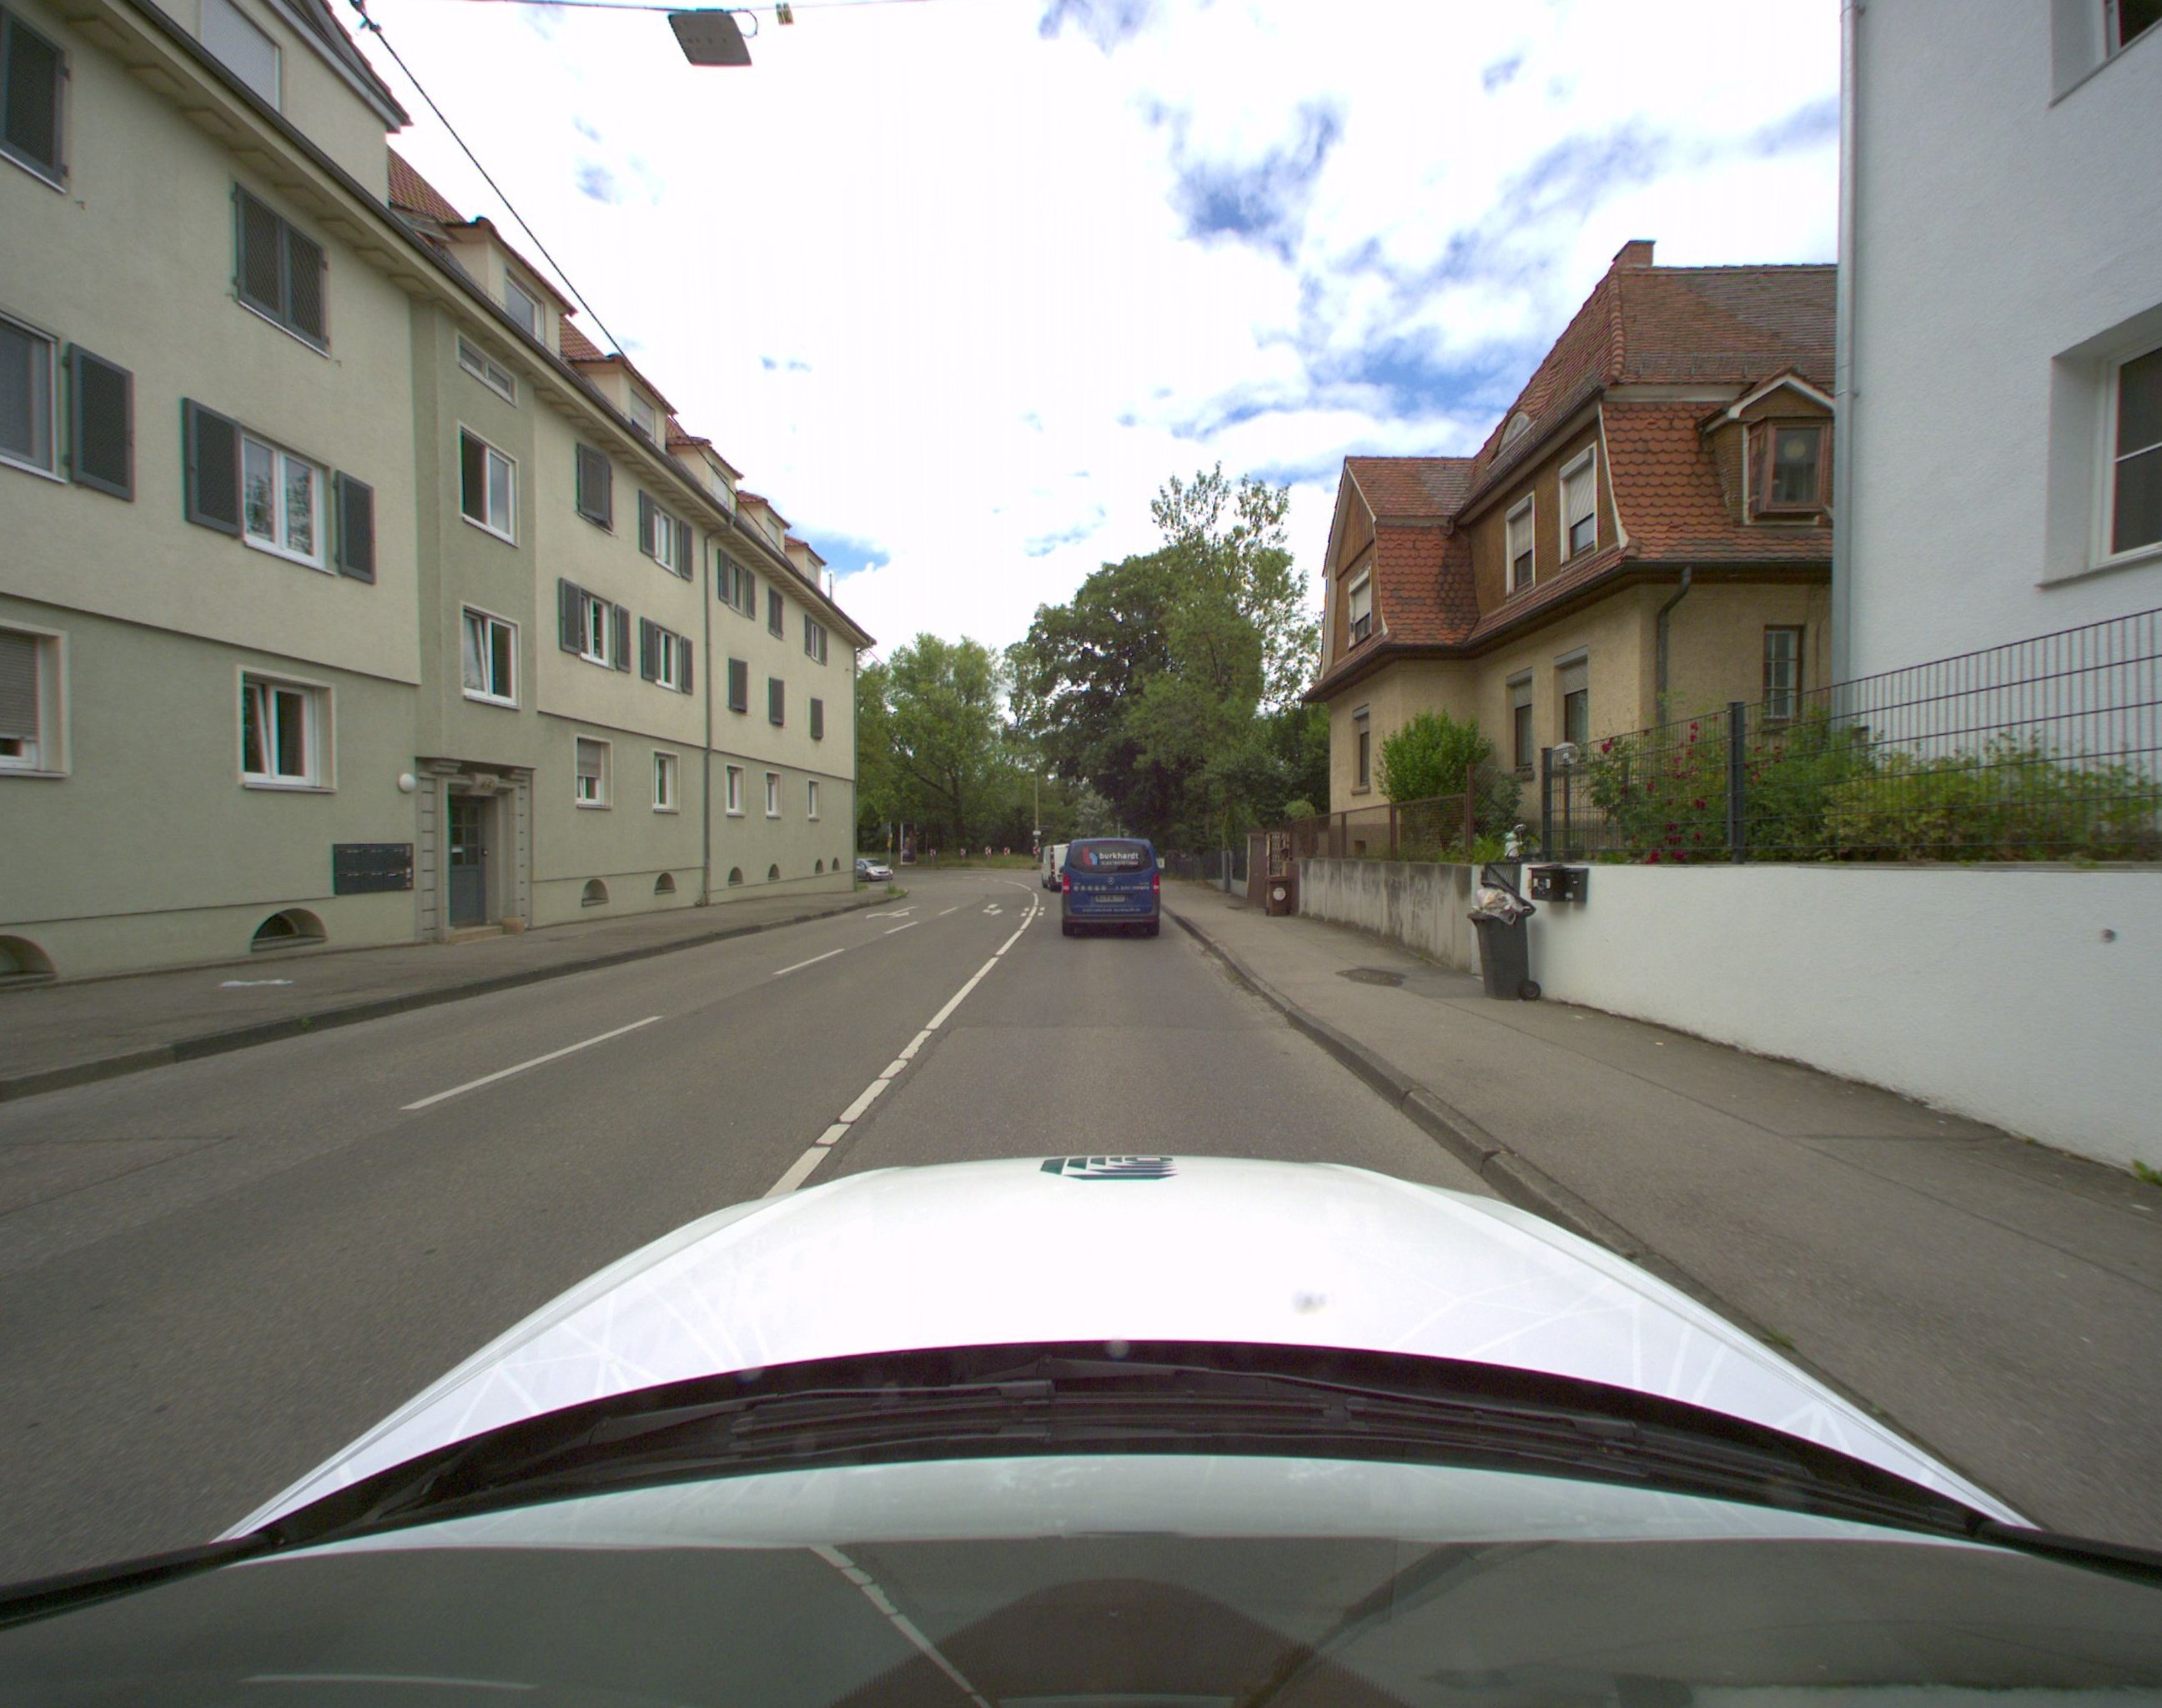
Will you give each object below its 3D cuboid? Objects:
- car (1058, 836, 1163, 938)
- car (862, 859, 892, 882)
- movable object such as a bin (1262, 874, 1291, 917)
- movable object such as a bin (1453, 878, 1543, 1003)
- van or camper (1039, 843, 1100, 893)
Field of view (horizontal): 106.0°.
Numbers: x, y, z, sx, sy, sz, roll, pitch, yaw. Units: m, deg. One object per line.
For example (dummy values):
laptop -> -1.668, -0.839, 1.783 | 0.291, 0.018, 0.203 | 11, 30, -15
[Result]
car -> 0.488, 0.595, 16.890 | 1.908, 1.837, 4.291 | 0, 0, -2
car -> -14.534, 1.160, 57.906 | 1.727, 1.605, 3.951 | 0, 0, -19
movable object such as a bin -> 4.475, 0.946, 18.667 | 0.460, 0.924, 0.566 | -3, 0, -1
movable object such as a bin -> 4.240, 0.863, 8.319 | 0.526, 1.178, 0.634 | -3, 0, -1
van or camper -> -0.600, 0.547, 35.369 | 2.018, 1.956, 4.883 | -2, 1, -8
